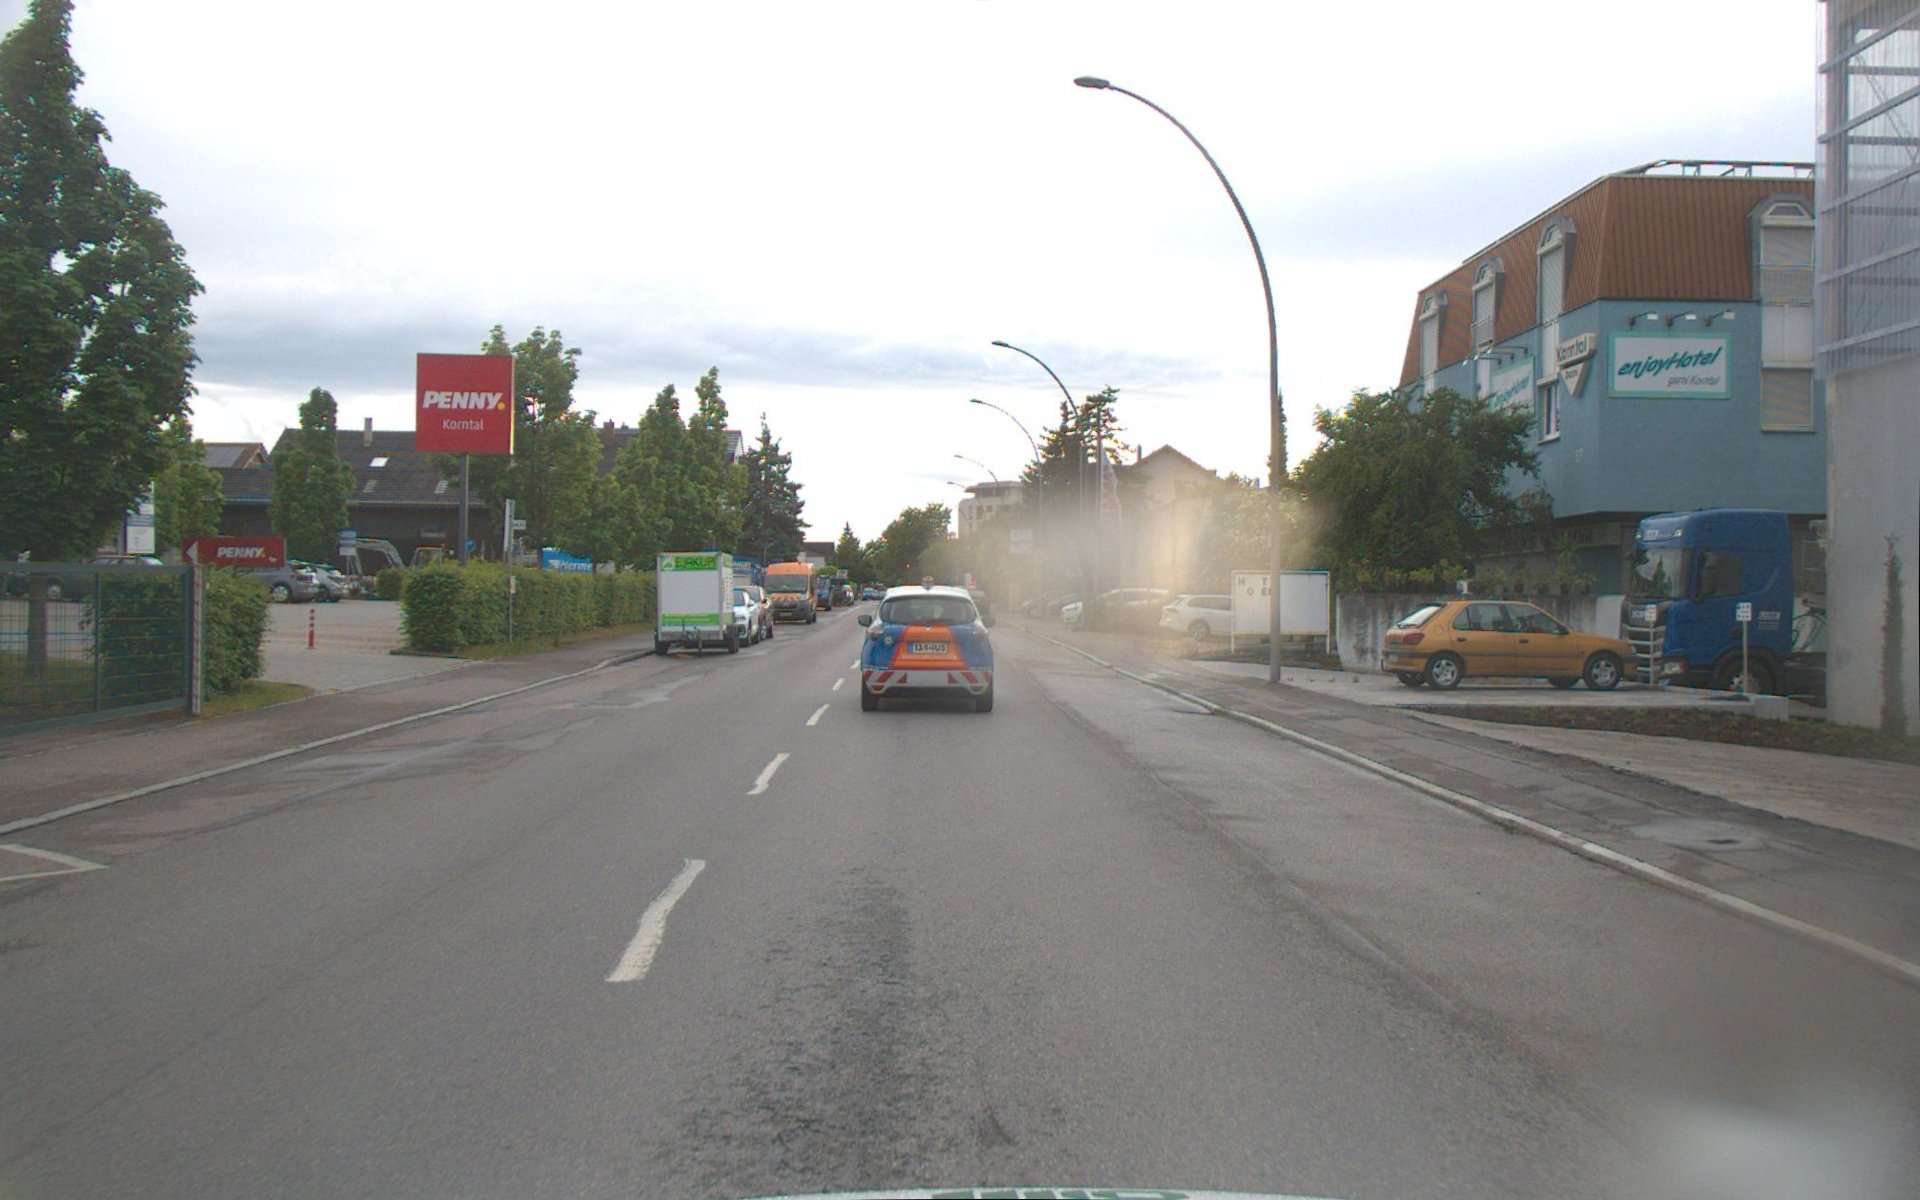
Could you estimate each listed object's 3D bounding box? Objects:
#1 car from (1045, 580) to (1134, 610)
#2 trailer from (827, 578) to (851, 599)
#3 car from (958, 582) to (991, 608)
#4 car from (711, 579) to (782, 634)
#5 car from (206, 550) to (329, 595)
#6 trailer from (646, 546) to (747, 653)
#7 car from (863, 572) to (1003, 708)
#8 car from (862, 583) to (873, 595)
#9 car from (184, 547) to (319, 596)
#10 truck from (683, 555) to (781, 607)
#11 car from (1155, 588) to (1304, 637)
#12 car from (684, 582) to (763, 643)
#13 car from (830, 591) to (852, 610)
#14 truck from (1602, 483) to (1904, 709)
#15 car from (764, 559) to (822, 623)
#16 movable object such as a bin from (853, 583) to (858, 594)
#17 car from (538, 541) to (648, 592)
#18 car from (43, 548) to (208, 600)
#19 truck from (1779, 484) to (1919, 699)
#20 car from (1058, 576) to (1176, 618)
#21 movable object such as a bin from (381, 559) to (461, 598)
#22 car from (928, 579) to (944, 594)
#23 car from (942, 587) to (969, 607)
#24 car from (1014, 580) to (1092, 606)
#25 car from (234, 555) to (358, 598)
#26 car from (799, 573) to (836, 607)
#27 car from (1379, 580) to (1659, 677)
[{"bbox_3d":[5.899,-0.232,75.914,3.905,1.288,1.951,2,0,0],"label":"car"},{"bbox_3d":[-8.705,-0.831,119.453,1.683,1.282,5.241,2,2,-4],"label":"trailer"},{"bbox_3d":[0.799,-0.294,92.697,1.558,1.364,4.090,1,0,-3],"label":"car"},{"bbox_3d":[-6.493,0.153,50.658,1.769,1.601,4.341,0,1,-2],"label":"car"},{"bbox_3d":[-25.561,-1.003,61.141,3.815,1.547,1.692,2,0,-7],"label":"car"},{"bbox_3d":[-6.267,-0.049,39.807,1.776,2.354,4.728,-2,1,-2],"label":"trailer"},{"bbox_3d":[-0.403,0.484,21.959,1.697,1.659,3.493,0,0,-3],"label":"car"},{"bbox_3d":[-11.492,-1.409,205.414,1.359,1.509,3.781,0,0,-4],"label":"car"},{"bbox_3d":[-25.027,-0.997,58.552,3.977,1.578,1.883,2,0,-7],"label":"car"},{"bbox_3d":[-14.403,-1.186,104.607,5.792,3.127,2.449,2,0,-1],"label":"truck"},{"bbox_3d":[8.476,0.386,52.272,4.327,1.417,1.879,2,0,-3],"label":"car"},{"bbox_3d":[-6.395,0.300,45.083,1.737,1.525,4.135,0,1,-2],"label":"car"},{"bbox_3d":[-9.146,0.032,127.082,1.526,1.458,3.999,2,0,-2],"label":"car"},{"bbox_3d":[14.519,-0.066,30.514,4.063,3.737,2.718,4,0,-4],"label":"truck"},{"bbox_3d":[-7.048,-0.419,70.142,2.082,2.582,6.019,0,1,-3],"label":"car"},{"bbox_3d":[-12.062,-1.357,190.392,0.568,1.225,0.318,1,0,-2],"label":"movable object such as a bin"},{"bbox_3d":[-15.749,-1.418,71.118,4.219,2.049,2.062,2,0,-2],"label":"car"},{"bbox_3d":[-24.555,-0.751,48.761,3.900,1.411,1.801,2,0,-7],"label":"car"},{"bbox_3d":[20.151,-0.006,30.920,8.366,3.772,2.720,2,0,-4],"label":"truck"},{"bbox_3d":[5.922,-0.116,62.713,4.251,1.501,1.902,1,0,-3],"label":"car"},{"bbox_3d":[-26.003,-1.034,79.890,3.358,1.790,1.996,2,0,-8],"label":"movable object such as a bin"},{"bbox_3d":[-2.807,-1.573,194.989,1.617,1.701,3.997,2,0,-4],"label":"car"},{"bbox_3d":[-0.377,-0.245,124.595,1.678,1.463,4.522,2,0,-4],"label":"car"},{"bbox_3d":[4.880,-0.362,87.557,3.908,1.288,1.949,2,0,-4],"label":"car"},{"bbox_3d":[-25.515,-0.895,63.636,3.971,1.503,1.917,2,0,0],"label":"car"},{"bbox_3d":[-8.734,-0.598,101.568,1.953,1.981,5.363,1,0,-2],"label":"car"},{"bbox_3d":[8.871,0.439,26.429,3.908,1.455,1.630,1,0,-4],"label":"car"}]
